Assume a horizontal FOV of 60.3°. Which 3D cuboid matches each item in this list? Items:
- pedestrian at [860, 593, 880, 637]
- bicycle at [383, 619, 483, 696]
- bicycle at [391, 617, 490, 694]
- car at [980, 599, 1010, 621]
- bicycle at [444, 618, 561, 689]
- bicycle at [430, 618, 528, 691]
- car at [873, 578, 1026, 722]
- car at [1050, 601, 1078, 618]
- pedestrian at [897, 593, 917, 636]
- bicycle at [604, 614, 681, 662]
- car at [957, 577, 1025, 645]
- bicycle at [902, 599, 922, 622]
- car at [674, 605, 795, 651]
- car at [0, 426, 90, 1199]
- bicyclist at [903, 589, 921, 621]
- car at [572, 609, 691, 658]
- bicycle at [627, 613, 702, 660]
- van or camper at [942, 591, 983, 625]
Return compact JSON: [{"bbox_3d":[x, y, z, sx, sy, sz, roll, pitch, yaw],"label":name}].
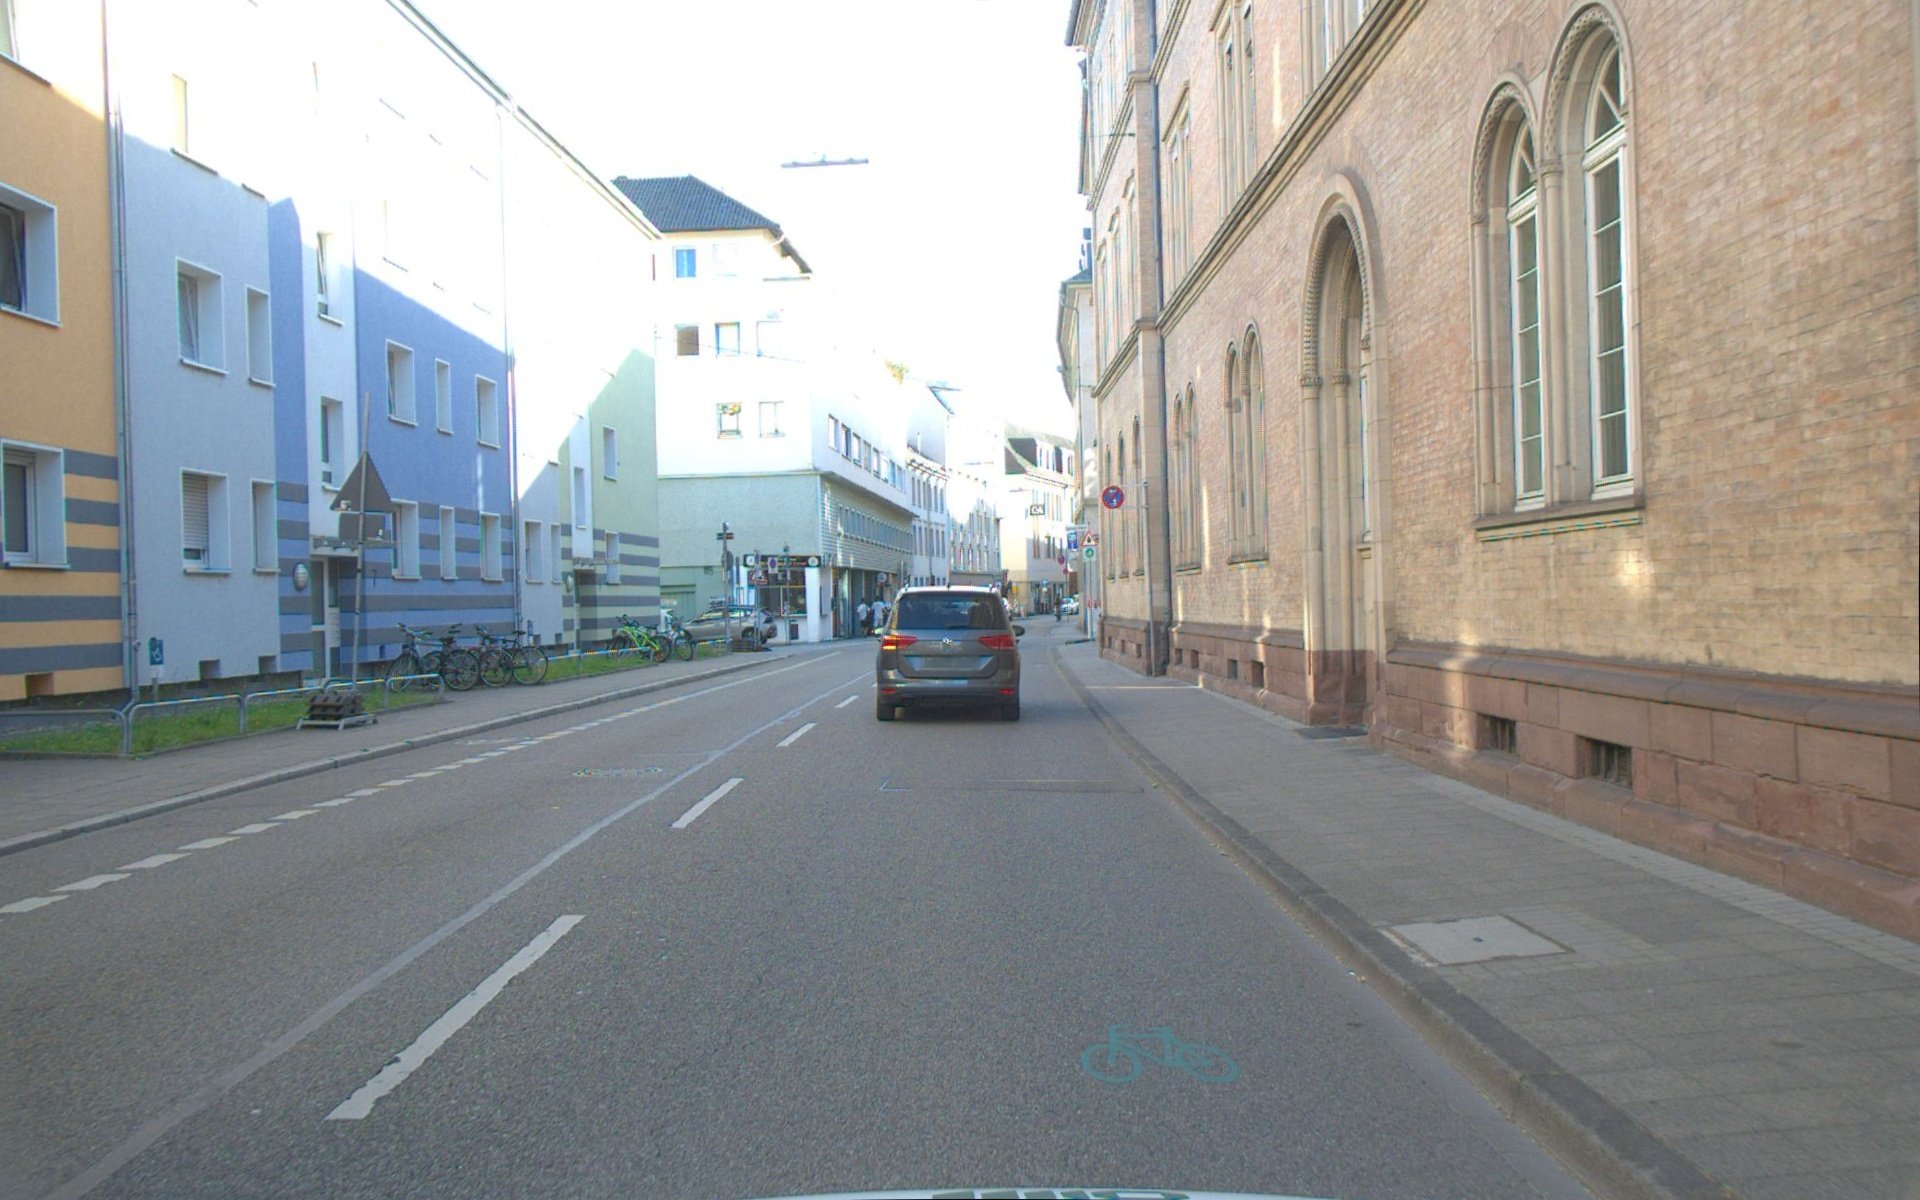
[{"bbox_3d":[-3.876,0.643,71.010,0.544,1.861,0.730,-1,0,25],"label":"pedestrian"},{"bbox_3d":[-8.965,0.975,28.141,1.547,1.263,0.384,-1,0,-1],"label":"bicycle"},{"bbox_3d":[-8.964,0.954,28.559,1.552,1.263,0.449,-1,0,-1],"label":"bicycle"},{"bbox_3d":[2.564,0.732,119.892,1.826,1.494,3.836,-1,0,7],"label":"car"},{"bbox_3d":[-8.429,0.982,30.522,1.967,1.253,0.623,-1,0,-1],"label":"bicycle"},{"bbox_3d":[-8.658,0.975,29.807,1.605,1.263,0.467,-1,0,-1],"label":"bicycle"},{"bbox_3d":[-0.091,0.579,21.078,1.725,1.635,4.000,1,0,1],"label":"car"},{"bbox_3d":[9.466,0.837,149.930,1.697,1.493,4.003,-1,0,16],"label":"car"},{"bbox_3d":[-2.279,0.624,71.582,0.544,1.861,0.730,-1,0,25],"label":"pedestrian"},{"bbox_3d":[-8.210,0.973,42.774,1.896,1.200,0.611,1,-1,-14],"label":"bicycle"},{"bbox_3d":[0.923,0.314,50.102,1.952,1.914,4.000,-1,0,0],"label":"car"},{"bbox_3d":[-2.375,0.514,82.310,0.813,1.073,2.550,-1,0,2],"label":"bicycle"},{"bbox_3d":[-8.186,1.012,60.240,4.012,1.468,1.949,-2,0,4],"label":"car"},{"bbox_3d":[-3.097,0.577,1.541,1.861,1.867,5.093,-3,0,-1],"label":"car"},{"bbox_3d":[-2.372,0.249,82.334,0.813,1.589,0.760,-1,0,2],"label":"bicyclist"},{"bbox_3d":[-10.780,1.089,54.452,3.427,1.468,1.814,-2,0,4],"label":"car"},{"bbox_3d":[-7.893,0.969,44.235,1.892,1.200,0.612,1,-1,-7],"label":"bicycle"},{"bbox_3d":[0.204,0.490,103.779,1.951,2.049,4.486,-1,0,8],"label":"van or camper"}]
